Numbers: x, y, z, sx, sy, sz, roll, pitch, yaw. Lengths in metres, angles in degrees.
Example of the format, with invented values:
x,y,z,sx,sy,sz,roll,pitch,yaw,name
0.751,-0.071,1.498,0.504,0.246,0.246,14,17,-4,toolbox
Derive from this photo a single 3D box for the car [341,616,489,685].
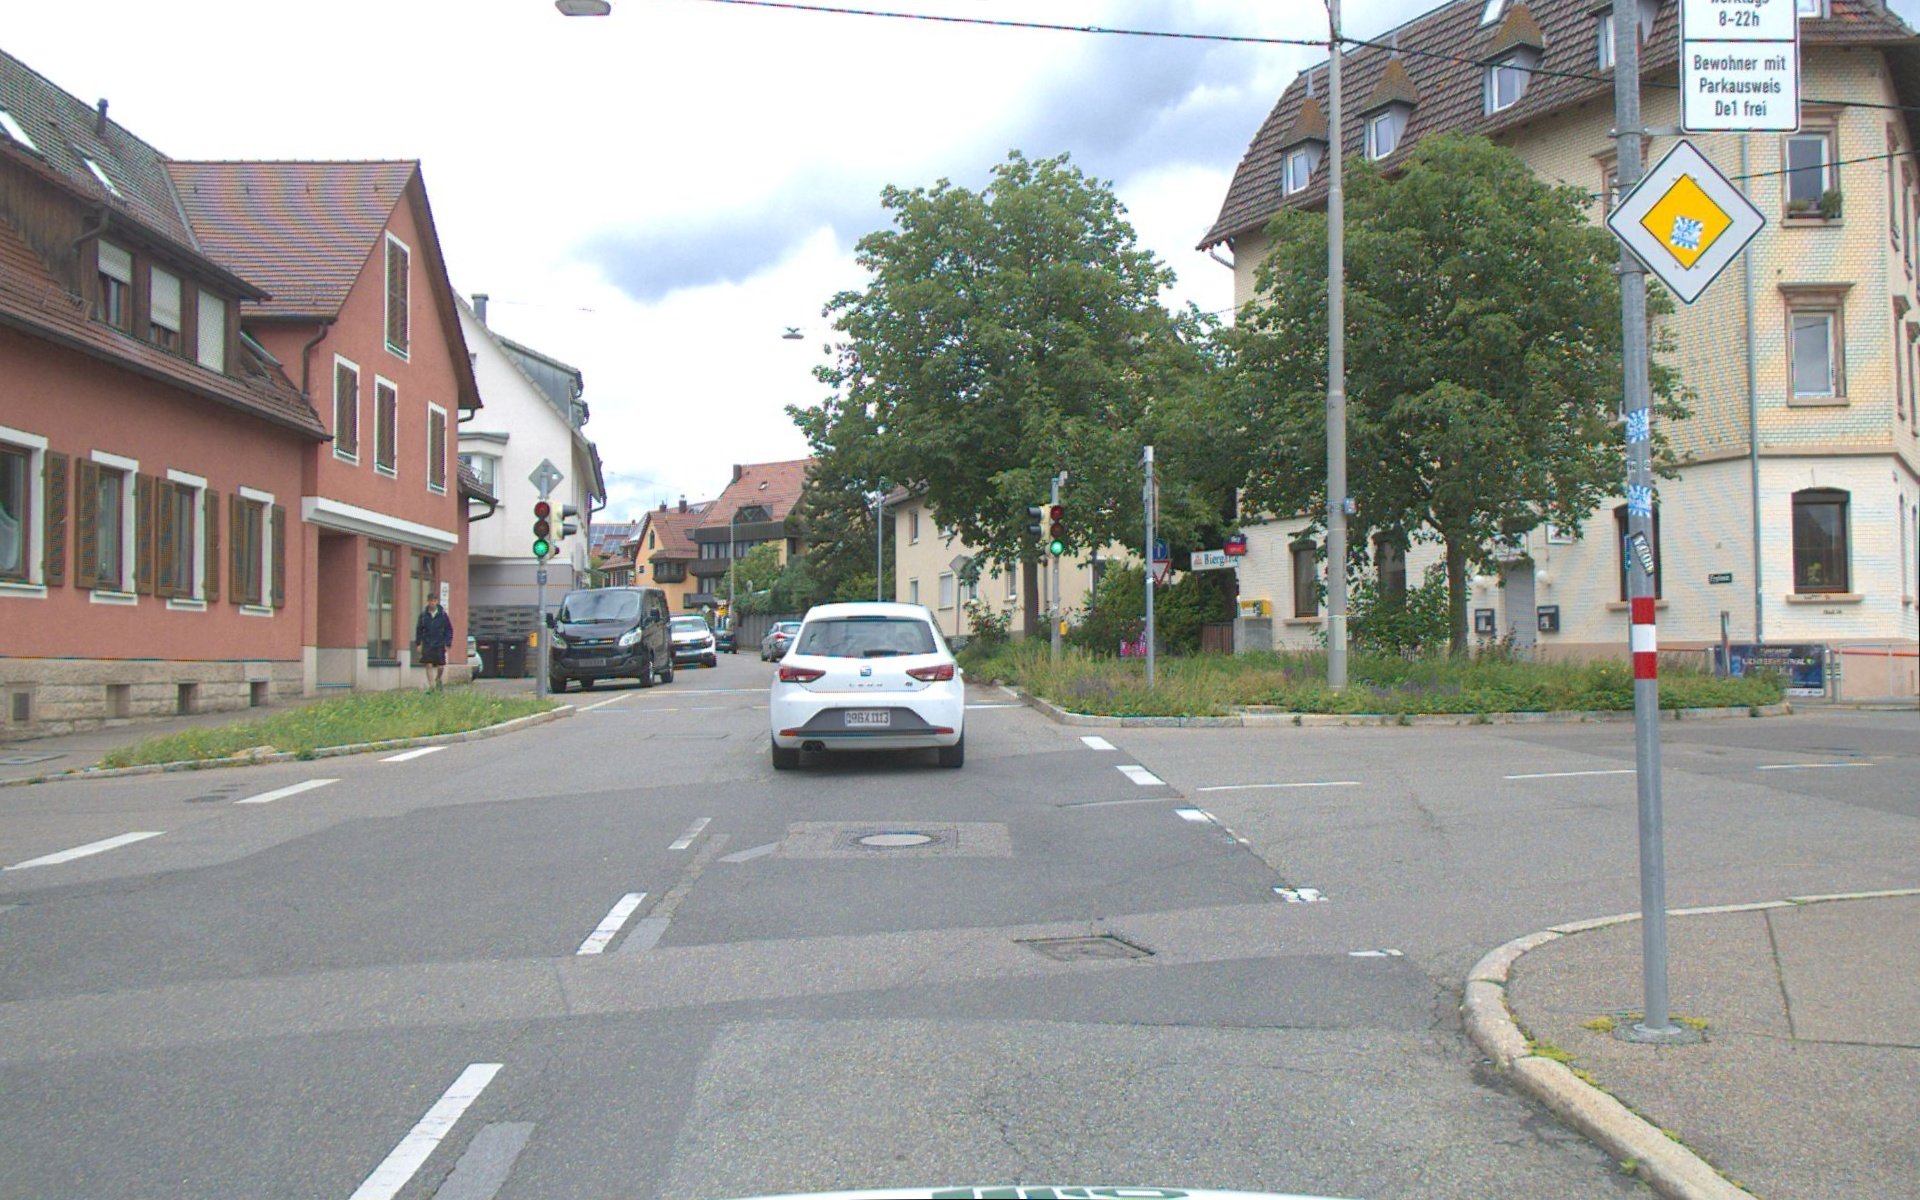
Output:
x,y,z,sx,sy,sz,roll,pitch,yaw,name
-12.321,1.133,37.510,2.771,1.501,1.742,0,-2,0,car

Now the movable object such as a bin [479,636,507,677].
x,y,z,sx,sy,sz,roll,pitch,yaw,name
-11.710,1.423,41.487,0.523,0.988,0.635,2,-1,-3,movable object such as a bin

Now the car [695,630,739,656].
x,y,z,sx,sy,sz,roll,pitch,yaw,name
-14.315,2.548,97.359,1.733,1.477,3.974,1,-2,-21,car

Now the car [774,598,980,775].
x,y,z,sx,sy,sz,roll,pitch,yaw,name
-0.743,0.723,15.821,1.723,1.477,3.999,0,0,-2,car

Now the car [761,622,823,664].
x,y,z,sx,sy,sz,roll,pitch,yaw,name
-6.210,1.591,60.901,1.729,1.477,3.985,0,-2,-14,car

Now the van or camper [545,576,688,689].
x,y,z,sx,sy,sz,roll,pitch,yaw,name
-6.825,0.698,33.358,2.032,2.041,4.854,-2,-2,-3,van or camper

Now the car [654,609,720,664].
x,y,z,sx,sy,sz,roll,pitch,yaw,name
-8.750,1.158,52.842,1.961,1.662,4.845,1,-1,-10,car

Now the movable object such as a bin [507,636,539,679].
x,y,z,sx,sy,sz,roll,pitch,yaw,name
-11.001,1.434,41.615,0.653,1.036,0.794,-1,0,-6,movable object such as a bin

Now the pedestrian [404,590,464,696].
x,y,z,sx,sy,sz,roll,pitch,yaw,name
-9.170,0.741,28.845,0.784,1.816,0.892,0,-1,-3,pedestrian
